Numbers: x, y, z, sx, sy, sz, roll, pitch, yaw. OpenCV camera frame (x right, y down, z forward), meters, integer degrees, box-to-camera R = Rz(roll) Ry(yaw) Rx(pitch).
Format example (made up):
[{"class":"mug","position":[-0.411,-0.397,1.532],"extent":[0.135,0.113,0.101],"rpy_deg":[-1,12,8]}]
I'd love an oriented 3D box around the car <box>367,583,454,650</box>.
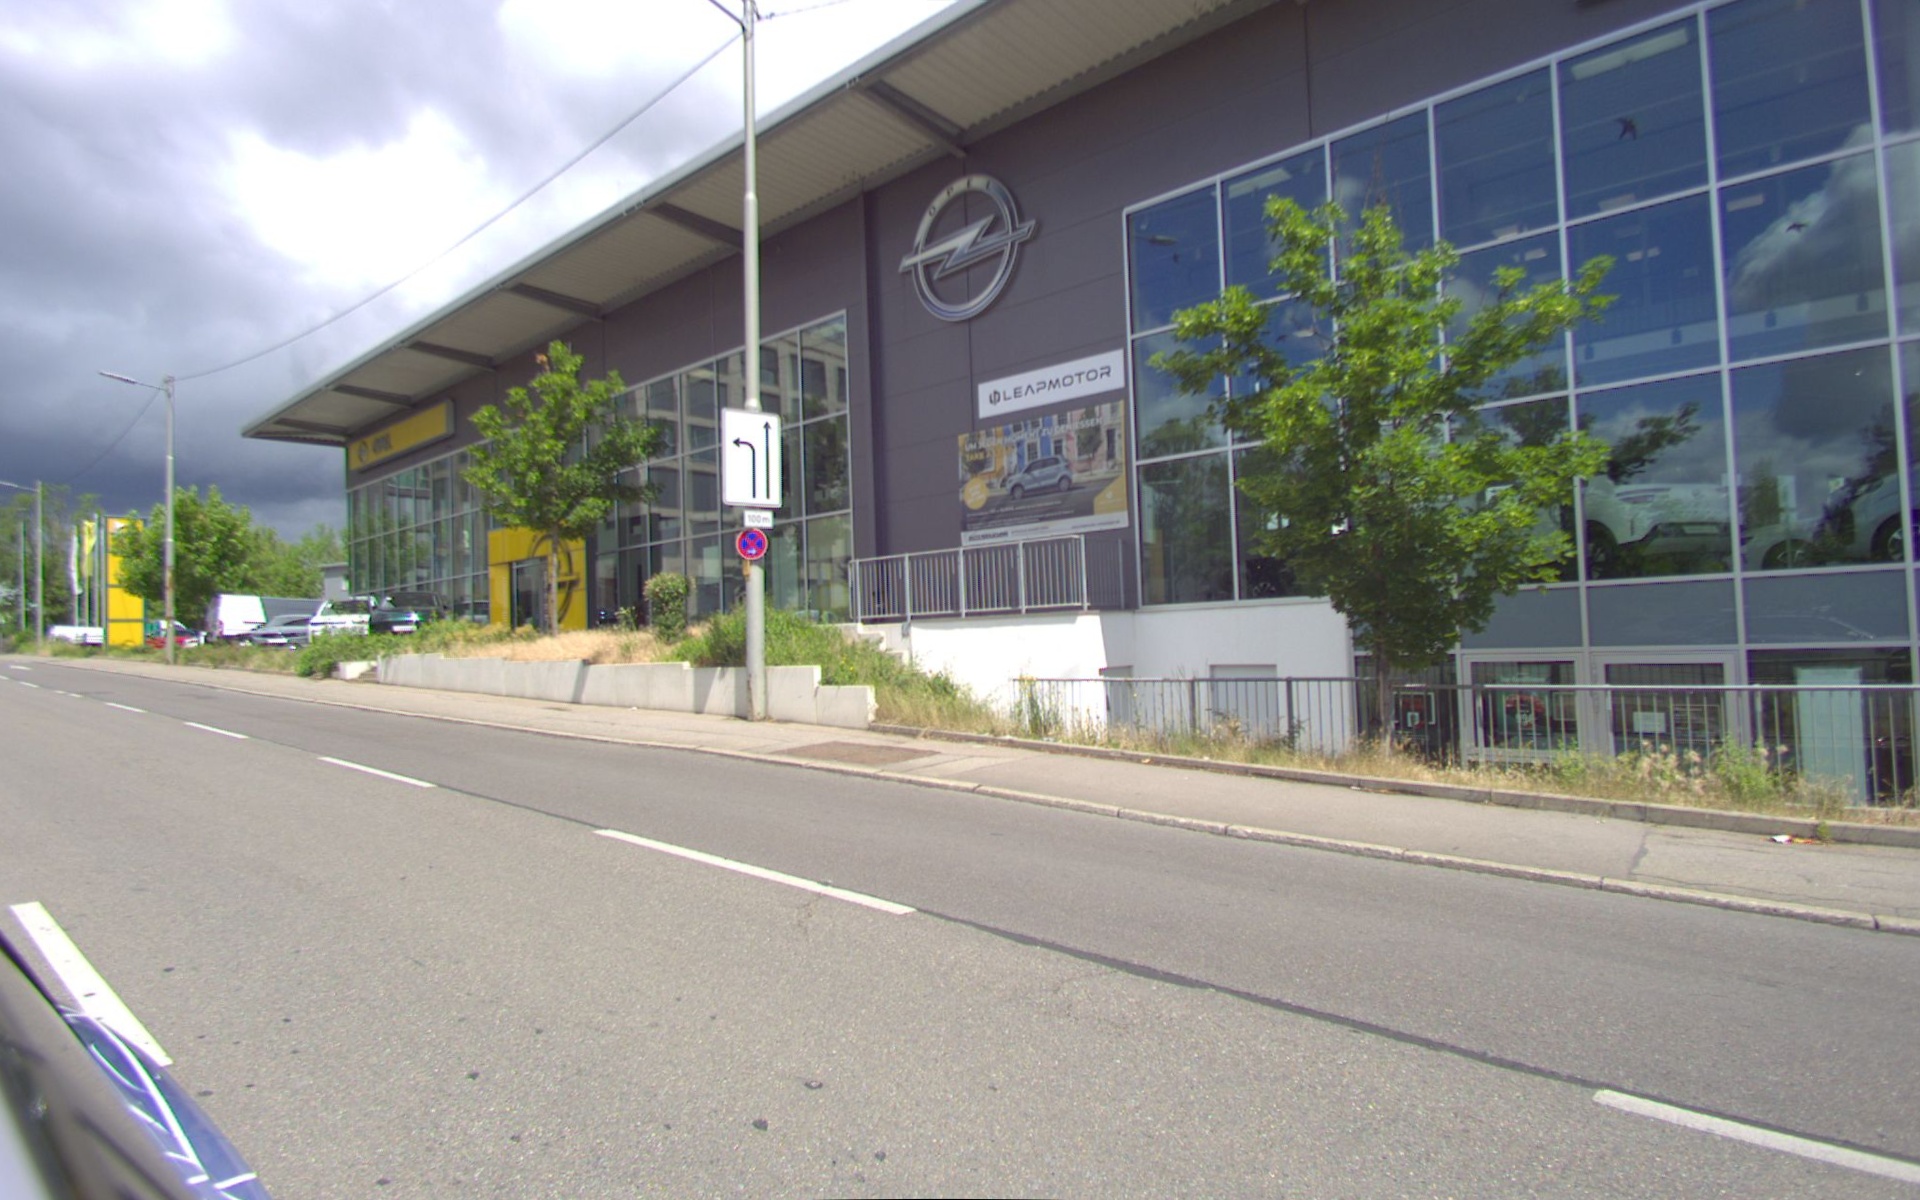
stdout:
[{"class":"car","position":[-15.691,0.487,28.793],"extent":[1.966,1.741,4.011],"rpy_deg":[1,-2,-31]}]

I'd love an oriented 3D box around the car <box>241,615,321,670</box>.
[{"class":"car","position":[-23.483,1.425,35.143],"extent":[1.966,1.807,4.012],"rpy_deg":[1,-1,-29]}]

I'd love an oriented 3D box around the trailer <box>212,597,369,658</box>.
[{"class":"trailer","position":[-27.430,1.106,41.595],"extent":[1.998,2.367,5.011],"rpy_deg":[-1,-2,39]}]

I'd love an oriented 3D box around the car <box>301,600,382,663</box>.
[{"class":"car","position":[-19.217,0.964,31.581],"extent":[1.966,1.807,4.012],"rpy_deg":[1,-2,-29]}]
